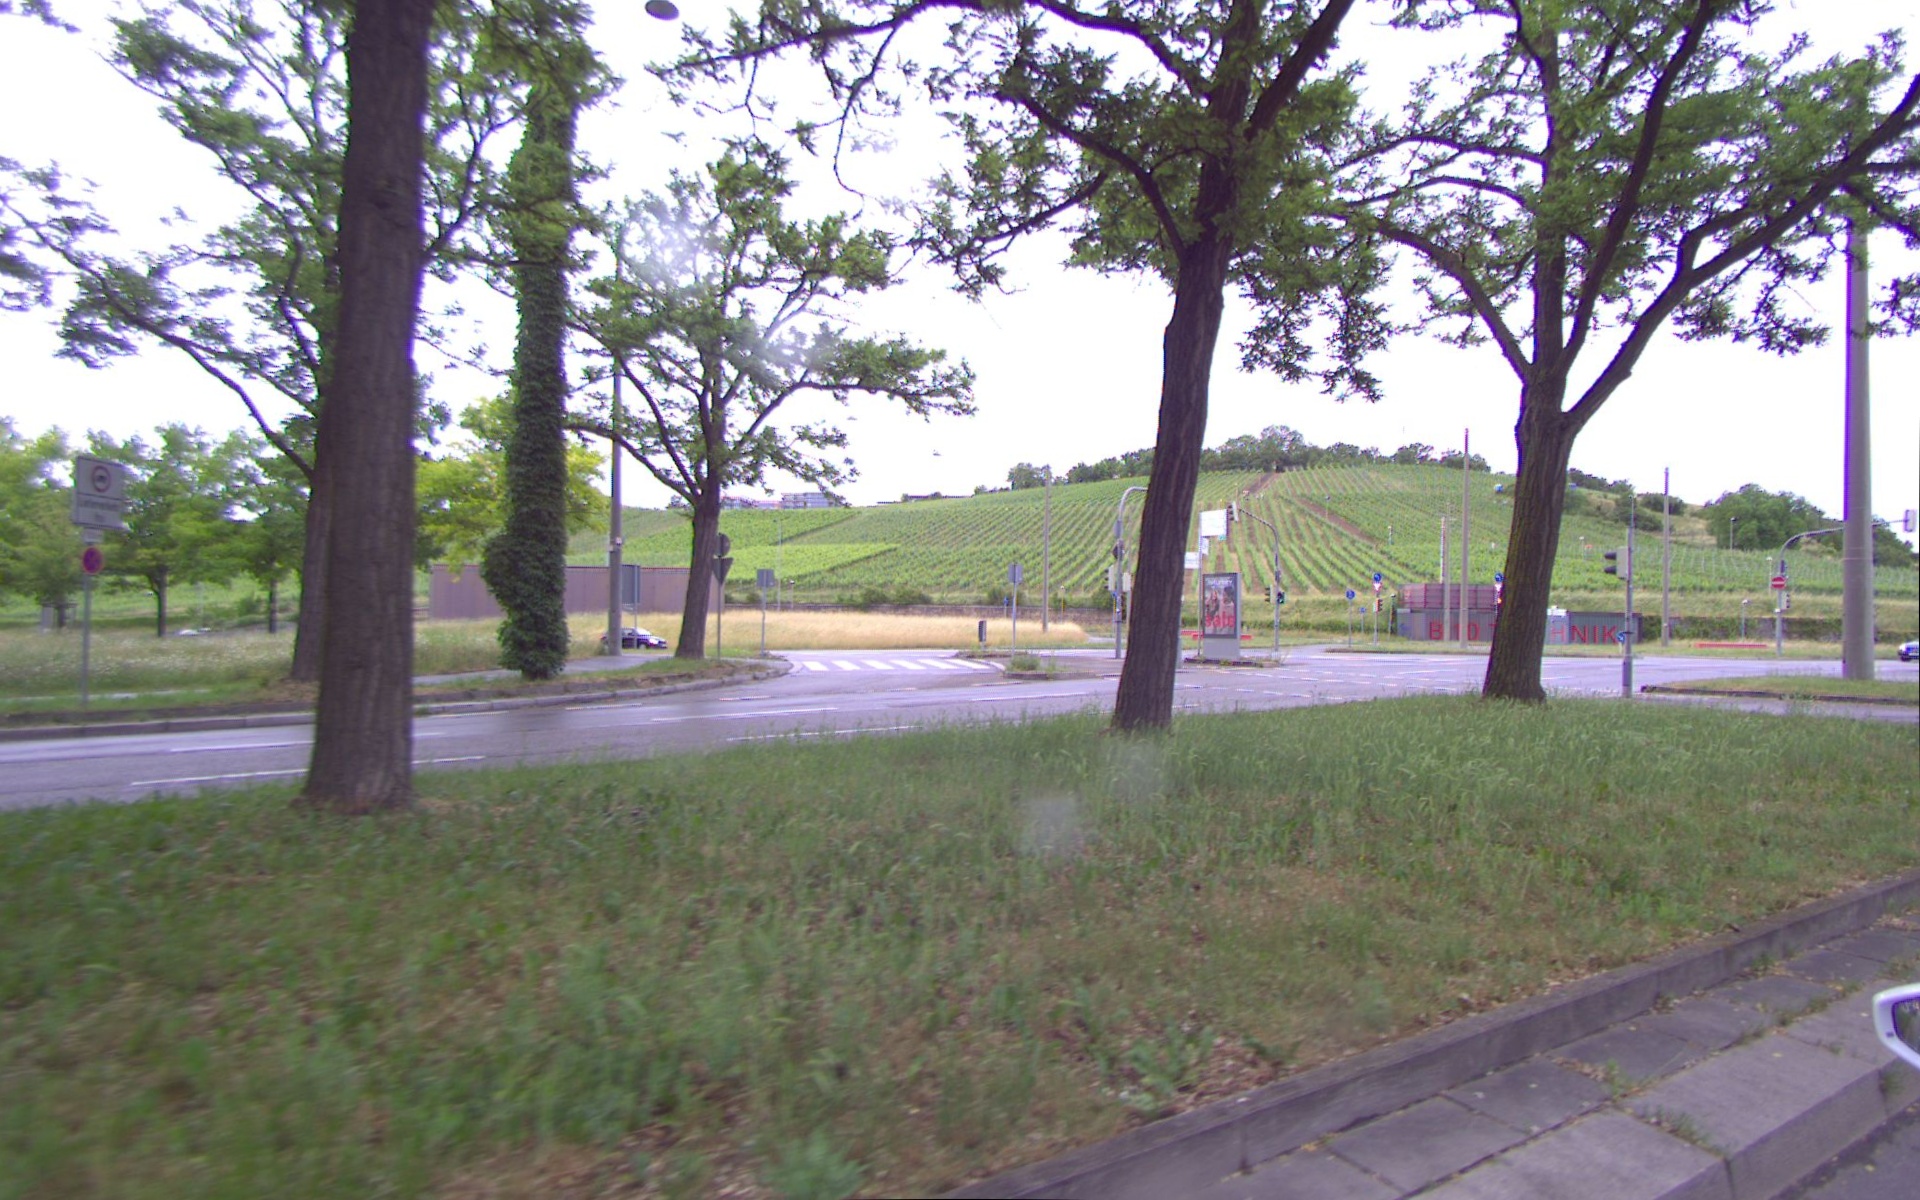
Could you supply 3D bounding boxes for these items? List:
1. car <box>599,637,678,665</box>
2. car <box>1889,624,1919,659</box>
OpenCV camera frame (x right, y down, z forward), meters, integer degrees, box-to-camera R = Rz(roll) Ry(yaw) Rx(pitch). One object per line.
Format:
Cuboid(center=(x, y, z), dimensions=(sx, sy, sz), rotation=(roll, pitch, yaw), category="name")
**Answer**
Cuboid(center=(-17.963, 2.823, 56.098), dimensions=(3.921, 1.307, 1.799), rotation=(2, 1, 21), category="car")
Cuboid(center=(47.682, 2.069, 49.016), dimensions=(4.503, 1.645, 1.824), rotation=(2, 1, -24), category="car")
